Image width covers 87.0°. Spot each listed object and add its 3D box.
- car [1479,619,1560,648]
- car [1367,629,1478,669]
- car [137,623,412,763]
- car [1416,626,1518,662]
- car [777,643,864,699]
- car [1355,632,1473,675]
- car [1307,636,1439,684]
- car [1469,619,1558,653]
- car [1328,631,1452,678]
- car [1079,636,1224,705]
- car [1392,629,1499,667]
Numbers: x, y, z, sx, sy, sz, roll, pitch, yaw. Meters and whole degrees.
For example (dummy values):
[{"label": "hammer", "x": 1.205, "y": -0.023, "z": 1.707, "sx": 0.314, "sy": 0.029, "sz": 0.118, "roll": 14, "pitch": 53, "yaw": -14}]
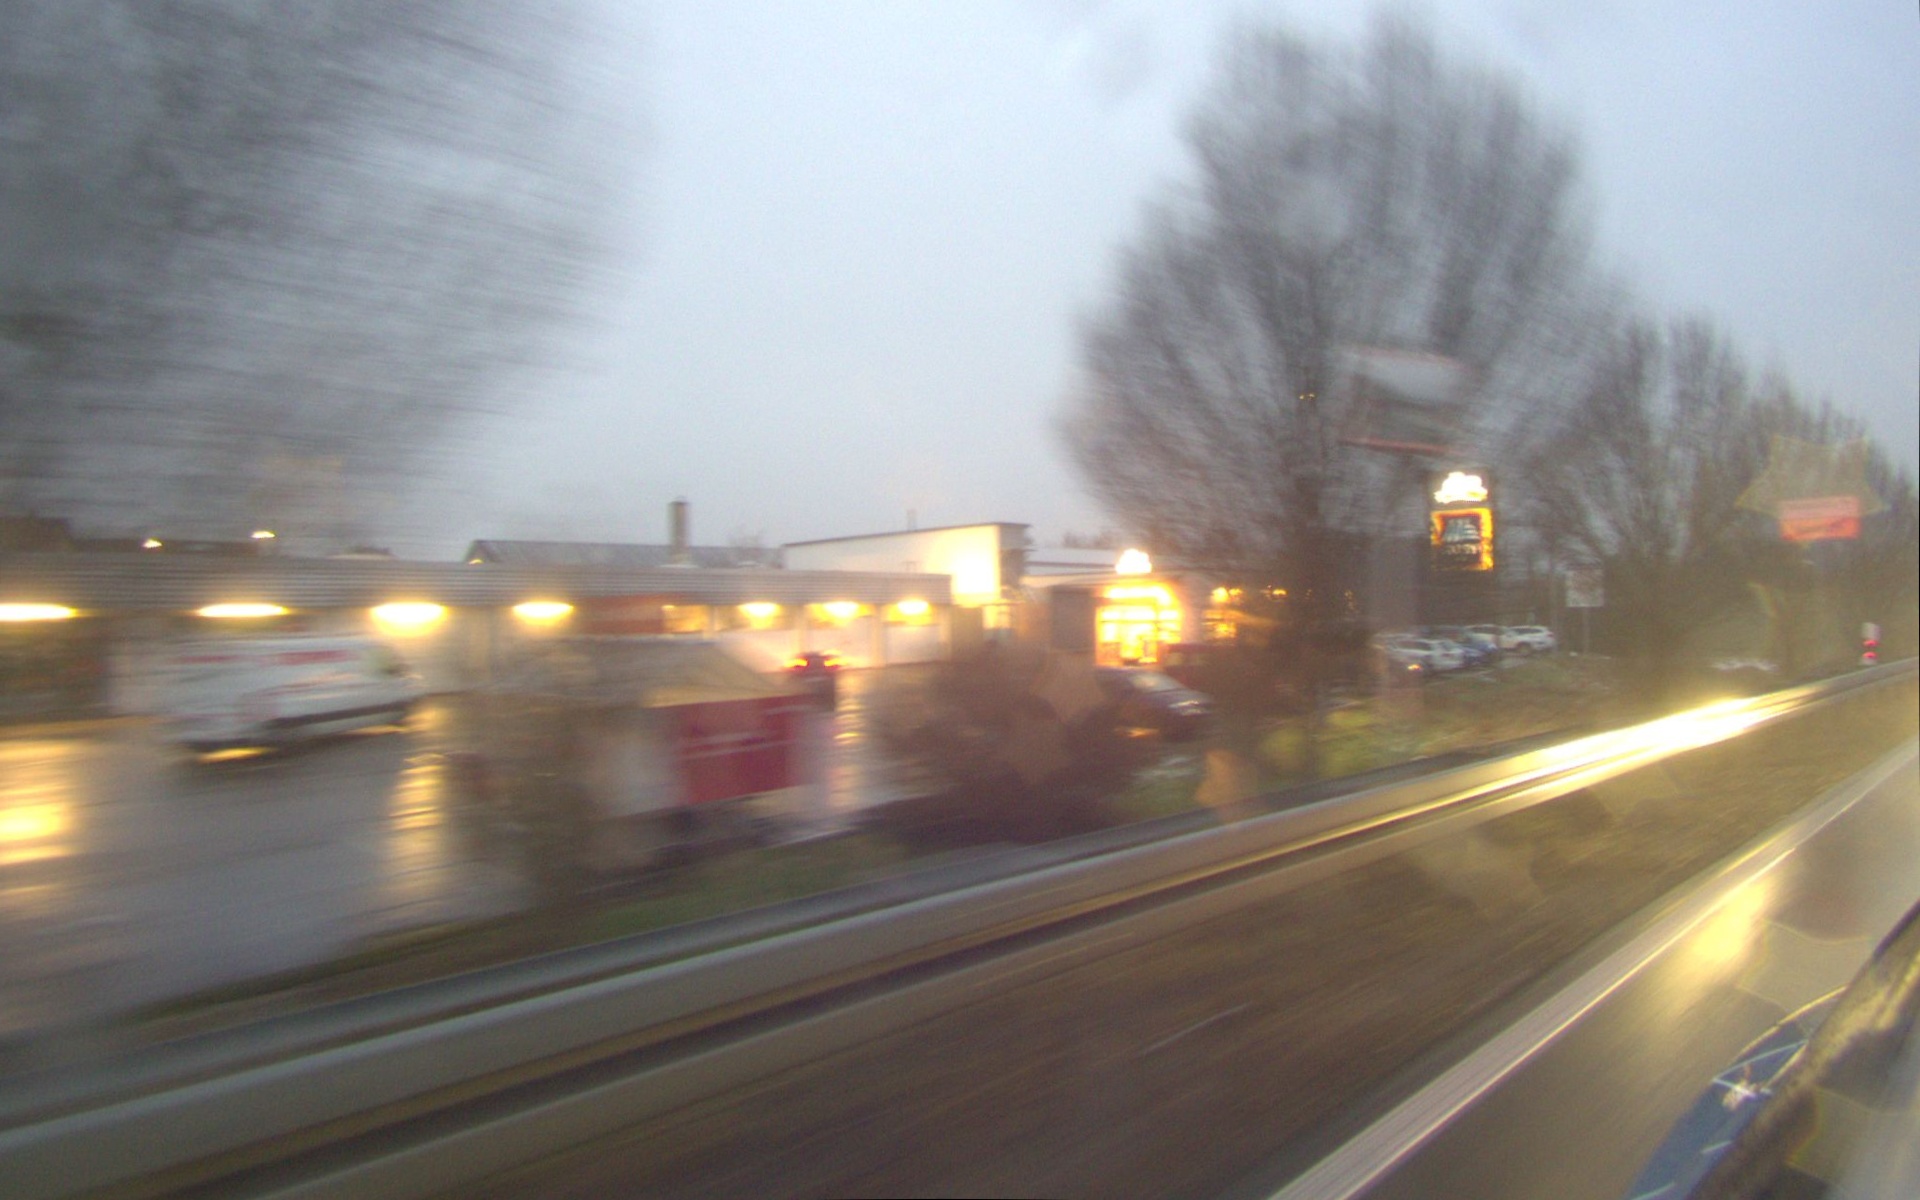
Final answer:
[{"label": "car", "x": 33.042, "y": 1.928, "z": 59.837, "sx": 3.993, "sy": 1.551, "sz": 1.691, "roll": 0, "pitch": 0, "yaw": 39}, {"label": "car", "x": 19.459, "y": 2.031, "z": 42.679, "sx": 3.993, "sy": 1.430, "sz": 1.691, "roll": 0, "pitch": 0, "yaw": 39}, {"label": "car", "x": -14.354, "y": 1.802, "z": 21.719, "sx": 2.239, "sy": 2.470, "sz": 5.237, "roll": 0, "pitch": 0, "yaw": 2}, {"label": "car", "x": 23.414, "y": 2.008, "z": 46.814, "sx": 3.993, "sy": 1.430, "sz": 1.691, "roll": 0, "pitch": 0, "yaw": 39}, {"label": "car", "x": -4.285, "y": 2.174, "z": 31.734, "sx": 1.686, "sy": 1.430, "sz": 4.004, "roll": 0, "pitch": 0, "yaw": 8}, {"label": "car", "x": 17.819, "y": 2.054, "z": 39.803, "sx": 3.992, "sy": 1.450, "sz": 1.691, "roll": 0, "pitch": 0, "yaw": 38}, {"label": "car", "x": 14.400, "y": 2.062, "z": 35.385, "sx": 3.992, "sy": 1.430, "sz": 1.691, "roll": 0, "pitch": 0, "yaw": 38}, {"label": "car", "x": 29.911, "y": 1.911, "z": 54.706, "sx": 3.993, "sy": 1.617, "sz": 1.781, "roll": 0, "pitch": 0, "yaw": 39}, {"label": "car", "x": 16.092, "y": 1.996, "z": 37.936, "sx": 3.992, "sy": 1.510, "sz": 1.691, "roll": 0, "pitch": 0, "yaw": 38}, {"label": "car", "x": 5.472, "y": 1.964, "z": 29.269, "sx": 1.684, "sy": 1.663, "sz": 4.009, "roll": 0, "pitch": 0, "yaw": -39}, {"label": "car", "x": 21.242, "y": 2.071, "z": 44.355, "sx": 3.993, "sy": 1.430, "sz": 1.691, "roll": 0, "pitch": 0, "yaw": 39}]
